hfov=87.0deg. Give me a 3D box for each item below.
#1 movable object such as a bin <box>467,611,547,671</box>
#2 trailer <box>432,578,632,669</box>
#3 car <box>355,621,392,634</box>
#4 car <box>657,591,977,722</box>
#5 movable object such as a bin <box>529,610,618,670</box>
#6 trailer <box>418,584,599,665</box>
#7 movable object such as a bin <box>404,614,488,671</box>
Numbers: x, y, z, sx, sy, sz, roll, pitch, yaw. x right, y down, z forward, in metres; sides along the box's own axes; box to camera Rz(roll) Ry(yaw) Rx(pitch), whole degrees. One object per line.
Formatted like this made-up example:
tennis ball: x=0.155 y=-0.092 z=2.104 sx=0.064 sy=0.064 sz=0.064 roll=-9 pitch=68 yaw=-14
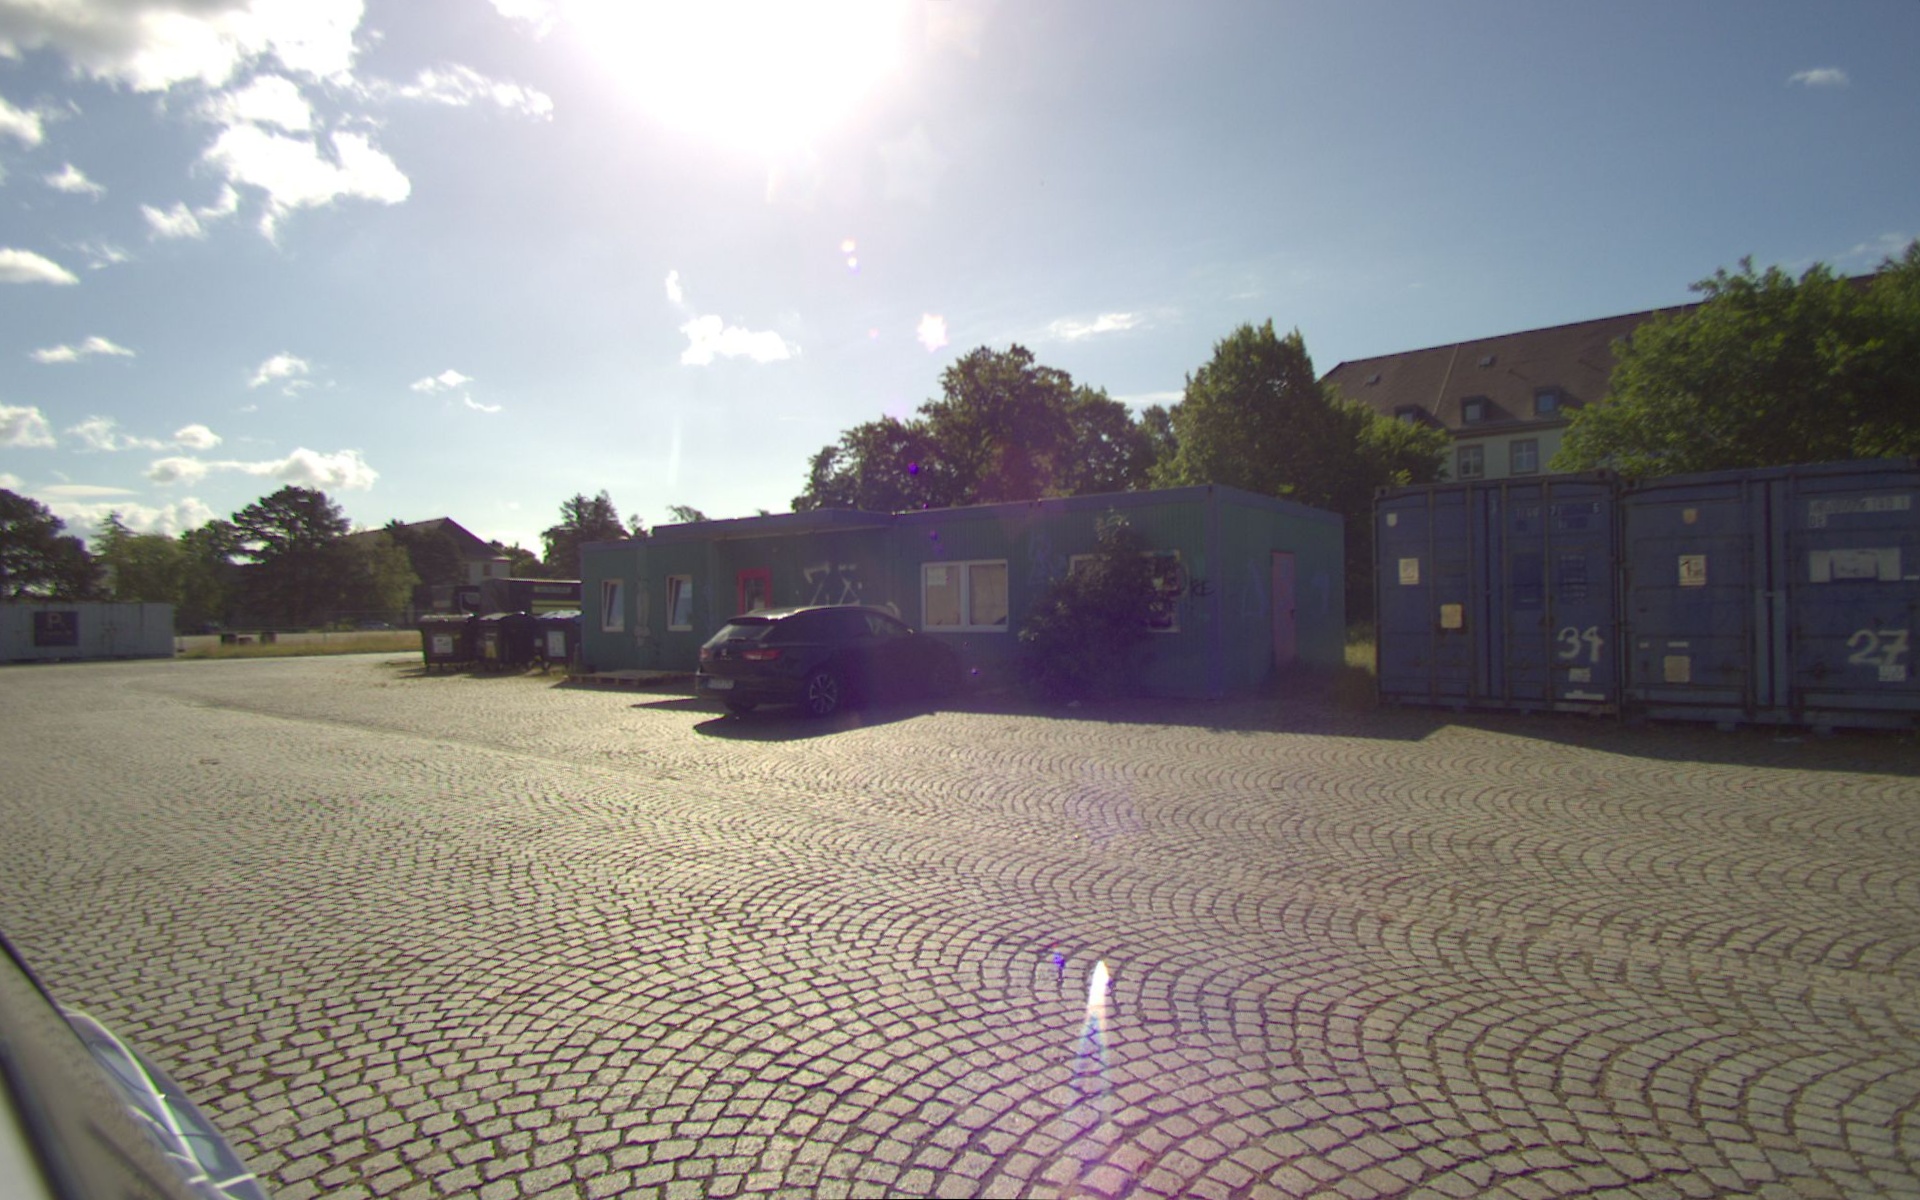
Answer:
movable object such as a bin: x=-11.306 y=1.007 z=25.252 sx=1.535 sy=1.433 sz=1.282 roll=-2 pitch=-1 yaw=42
trailer: x=-12.212 y=0.630 z=29.180 sx=2.092 sy=2.372 sz=4.914 roll=-2 pitch=-1 yaw=36
car: x=-79.597 y=3.696 z=137.332 sx=1.996 sy=1.594 sz=3.951 roll=-2 pitch=-1 yaw=36
car: x=-1.852 y=0.683 z=14.408 sx=1.997 sy=1.475 sz=4.374 roll=-2 pitch=0 yaw=37
movable object such as a bin: x=-9.493 y=0.973 z=24.859 sx=1.529 sy=1.397 sz=1.373 roll=-2 pitch=-1 yaw=28
trailer: x=-13.807 y=0.701 z=31.143 sx=2.136 sy=2.315 sz=4.606 roll=-2 pitch=-1 yaw=41
movable object such as a bin: x=-13.281 y=1.092 z=26.225 sx=1.513 sy=1.397 sz=1.387 roll=-1 pitch=-1 yaw=-4
